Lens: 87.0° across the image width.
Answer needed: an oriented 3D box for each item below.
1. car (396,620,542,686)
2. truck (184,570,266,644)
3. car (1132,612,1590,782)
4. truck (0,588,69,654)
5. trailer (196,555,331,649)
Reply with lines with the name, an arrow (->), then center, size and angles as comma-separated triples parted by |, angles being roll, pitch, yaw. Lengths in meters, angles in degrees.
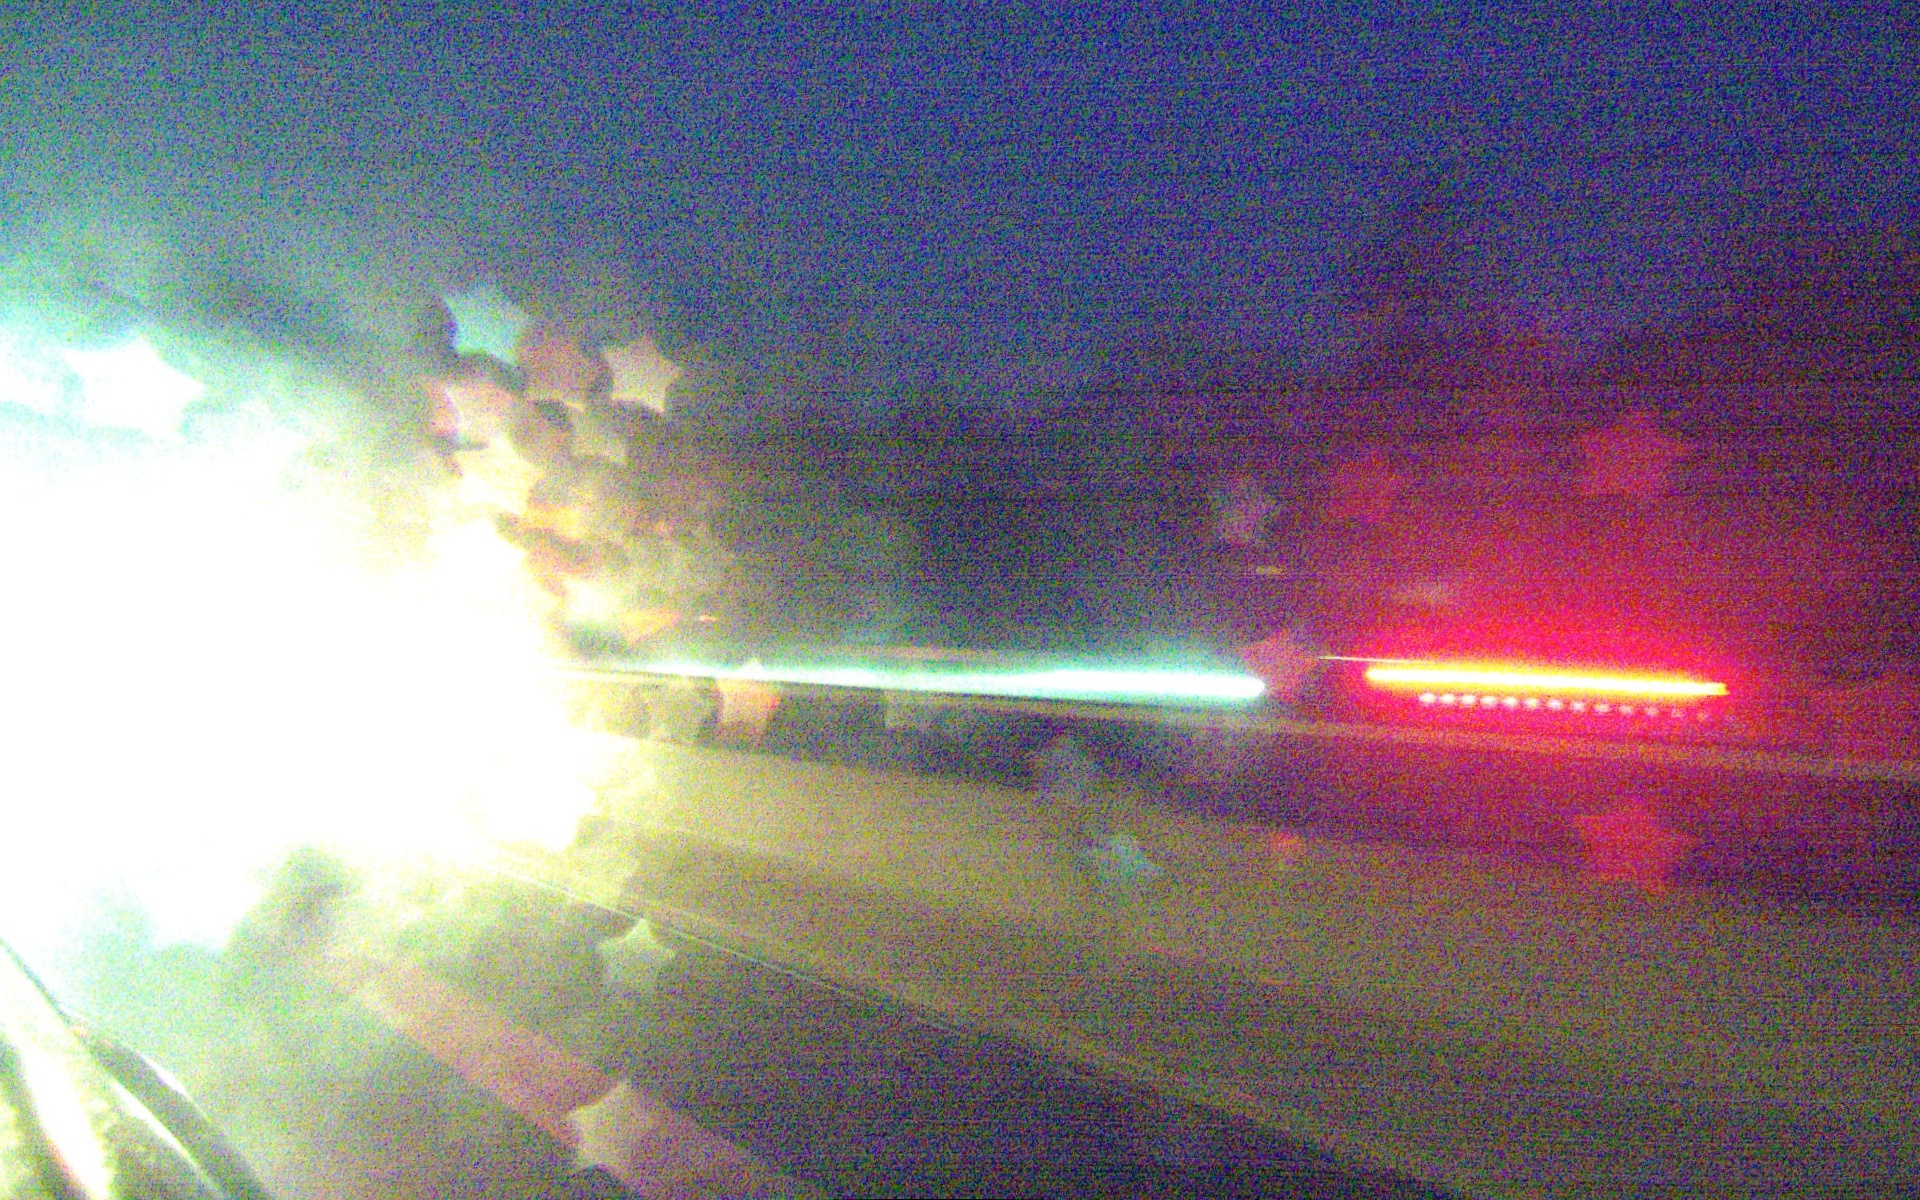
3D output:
car -> -13.652, 1.388, 28.037 | 4.668, 1.537, 1.973 | -1, 2, 42
truck -> -43.459, 0.388, 59.799 | 5.675, 4.143, 2.578 | -1, 2, 41
car -> 4.583, 0.958, 12.028 | 4.668, 1.537, 1.973 | -1, 2, 42
truck -> -94.928, 2.007, 103.577 | 16.616, 6.148, 3.295 | 0, 2, 41
trailer -> -38.273, 0.121, 55.293 | 13.715, 4.579, 2.595 | -1, 2, 41
